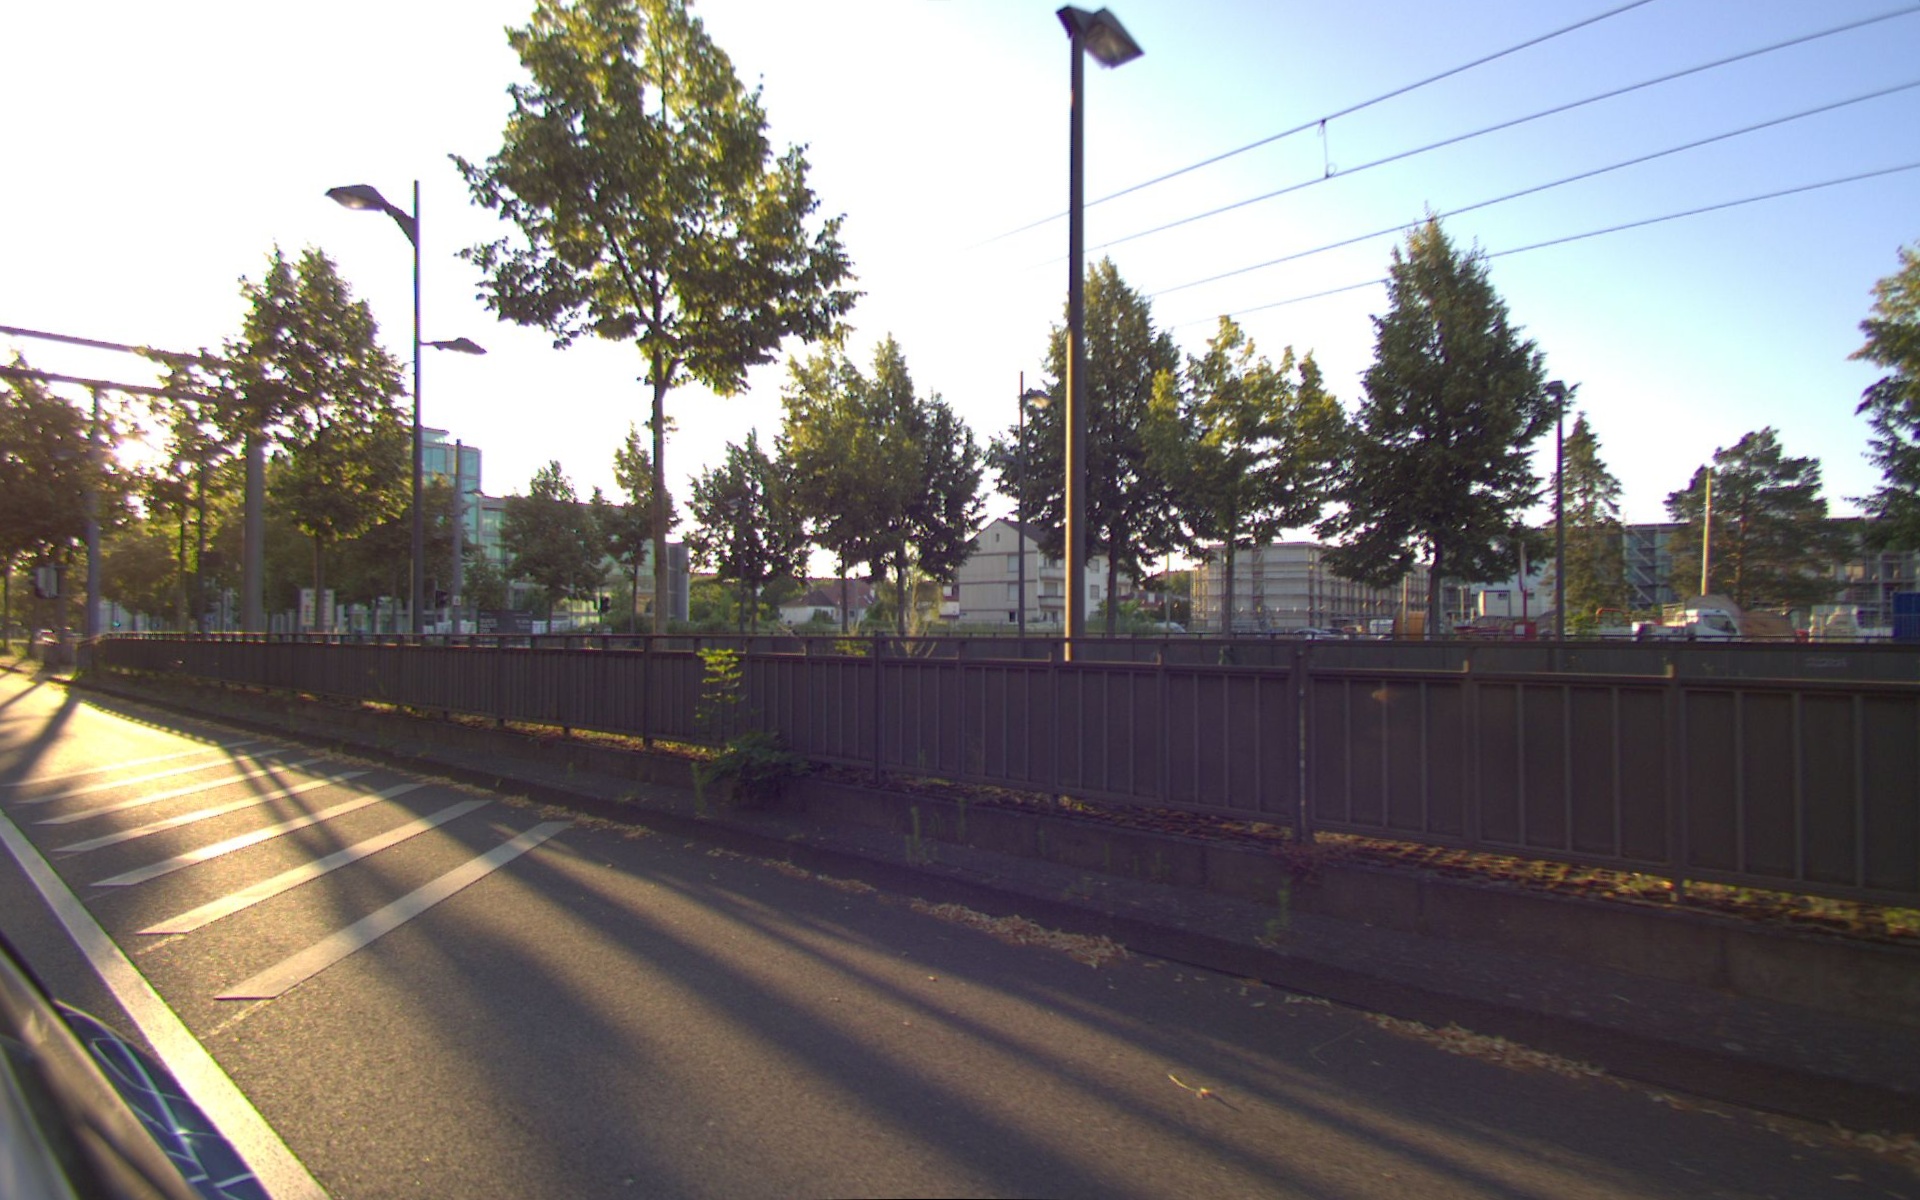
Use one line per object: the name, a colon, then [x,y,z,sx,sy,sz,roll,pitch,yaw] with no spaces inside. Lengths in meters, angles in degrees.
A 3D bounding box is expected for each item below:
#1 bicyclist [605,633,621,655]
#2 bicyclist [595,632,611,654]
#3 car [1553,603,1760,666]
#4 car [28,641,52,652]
bicyclist: [-23.690,2.989,69.147,0.936,1.467,0.613,-2,-3,40]
bicyclist: [-24.106,2.915,68.375,0.936,1.467,0.613,-2,-3,40]
car: [25.937,1.294,38.018,5.870,2.241,2.409,-1,-2,18]
car: [-128.827,6.496,141.689,4.627,1.497,1.883,-2,-3,40]
